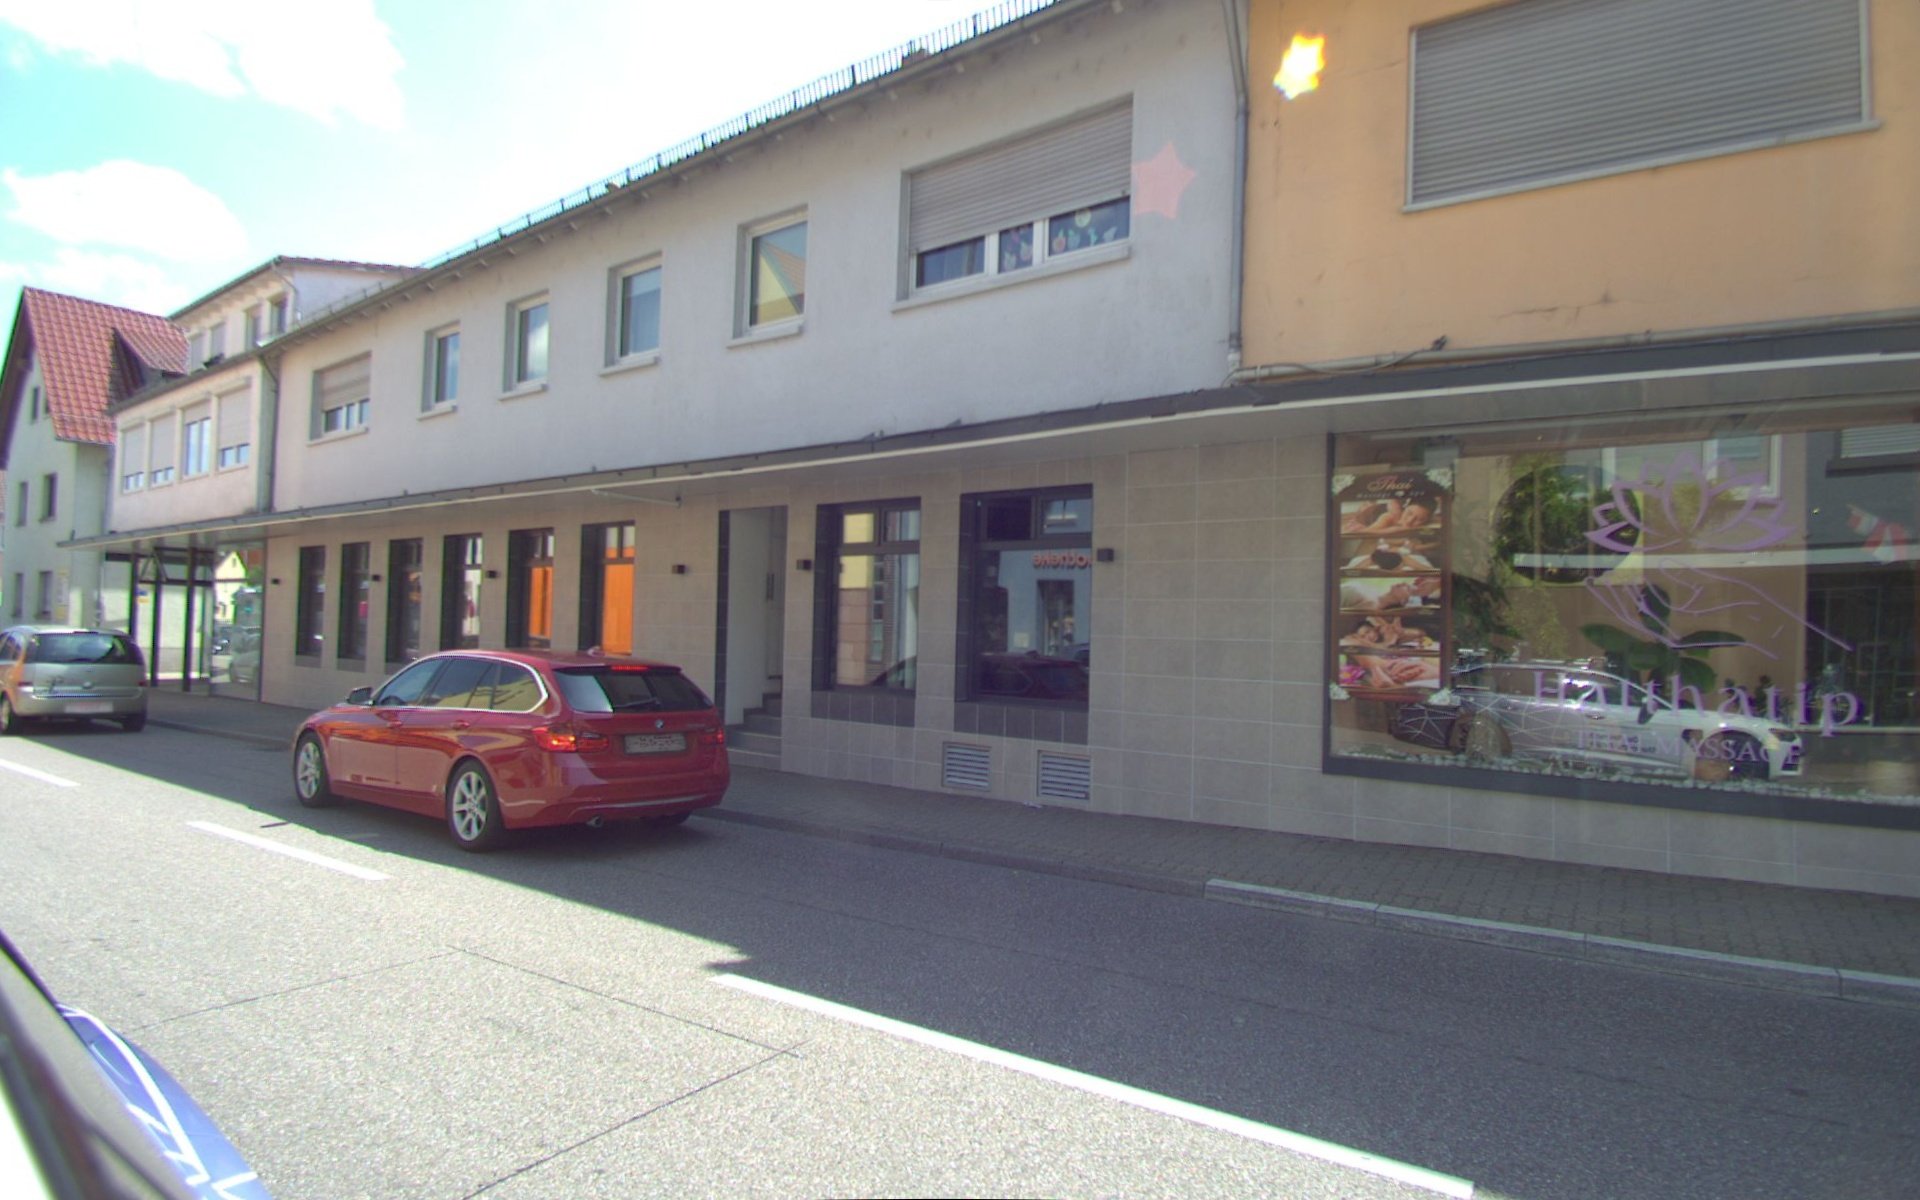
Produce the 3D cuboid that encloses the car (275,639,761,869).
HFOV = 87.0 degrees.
[{"bbox_3d":[-3.751,1.090,8.289,4.276,1.419,1.702,-2,-6,37],"label":"car"}]

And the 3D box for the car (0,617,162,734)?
[{"bbox_3d":[-14.323,1.193,15.895,3.812,1.629,1.665,-2,-7,35],"label":"car"}]
